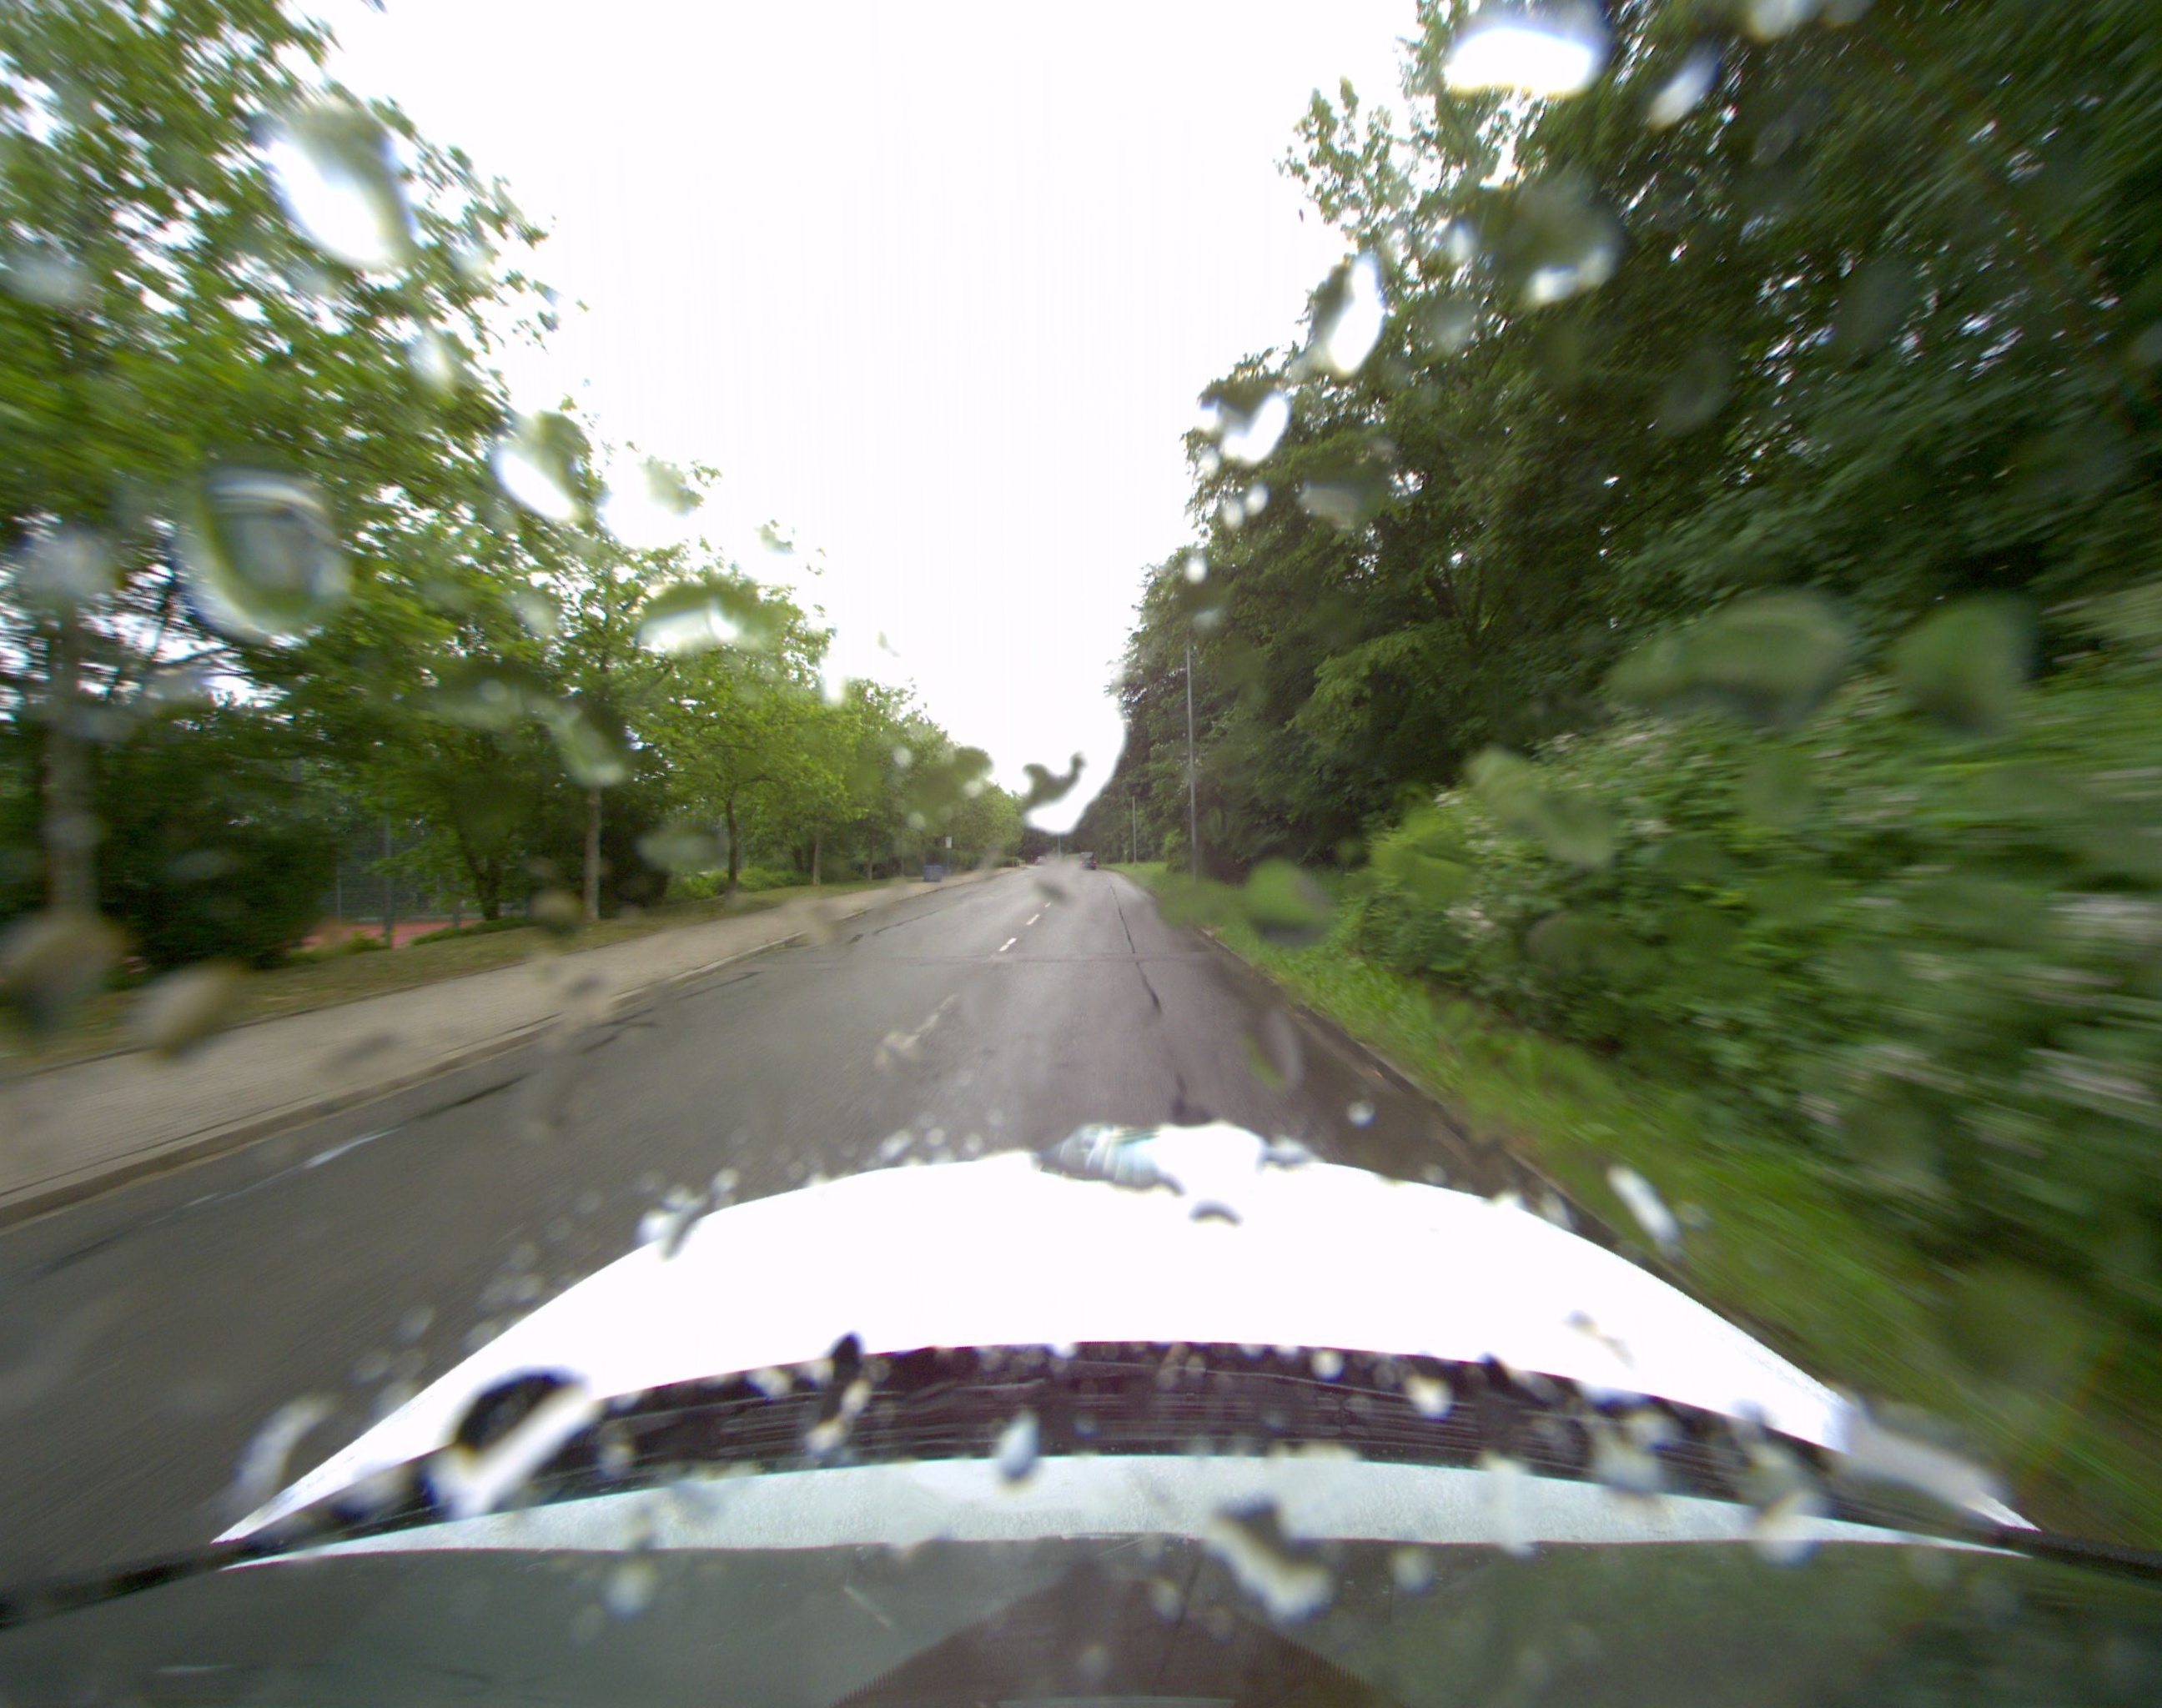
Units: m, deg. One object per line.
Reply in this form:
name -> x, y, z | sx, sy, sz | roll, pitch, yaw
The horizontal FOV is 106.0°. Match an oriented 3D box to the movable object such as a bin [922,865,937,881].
movable object such as a bin -> -10.168, 1.254, 54.550 | 0.670, 1.026, 0.827 | -4, 0, -30

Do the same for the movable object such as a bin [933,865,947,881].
movable object such as a bin -> -9.520, 1.255, 54.910 | 0.670, 1.026, 0.827 | -4, 0, -30

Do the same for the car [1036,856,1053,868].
car -> -6.084, 1.302, 134.875 | 1.996, 1.772, 3.981 | -2, 0, -14

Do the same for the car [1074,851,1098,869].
car -> 0.535, 0.608, 86.230 | 1.992, 1.793, 3.989 | -1, 1, -8
